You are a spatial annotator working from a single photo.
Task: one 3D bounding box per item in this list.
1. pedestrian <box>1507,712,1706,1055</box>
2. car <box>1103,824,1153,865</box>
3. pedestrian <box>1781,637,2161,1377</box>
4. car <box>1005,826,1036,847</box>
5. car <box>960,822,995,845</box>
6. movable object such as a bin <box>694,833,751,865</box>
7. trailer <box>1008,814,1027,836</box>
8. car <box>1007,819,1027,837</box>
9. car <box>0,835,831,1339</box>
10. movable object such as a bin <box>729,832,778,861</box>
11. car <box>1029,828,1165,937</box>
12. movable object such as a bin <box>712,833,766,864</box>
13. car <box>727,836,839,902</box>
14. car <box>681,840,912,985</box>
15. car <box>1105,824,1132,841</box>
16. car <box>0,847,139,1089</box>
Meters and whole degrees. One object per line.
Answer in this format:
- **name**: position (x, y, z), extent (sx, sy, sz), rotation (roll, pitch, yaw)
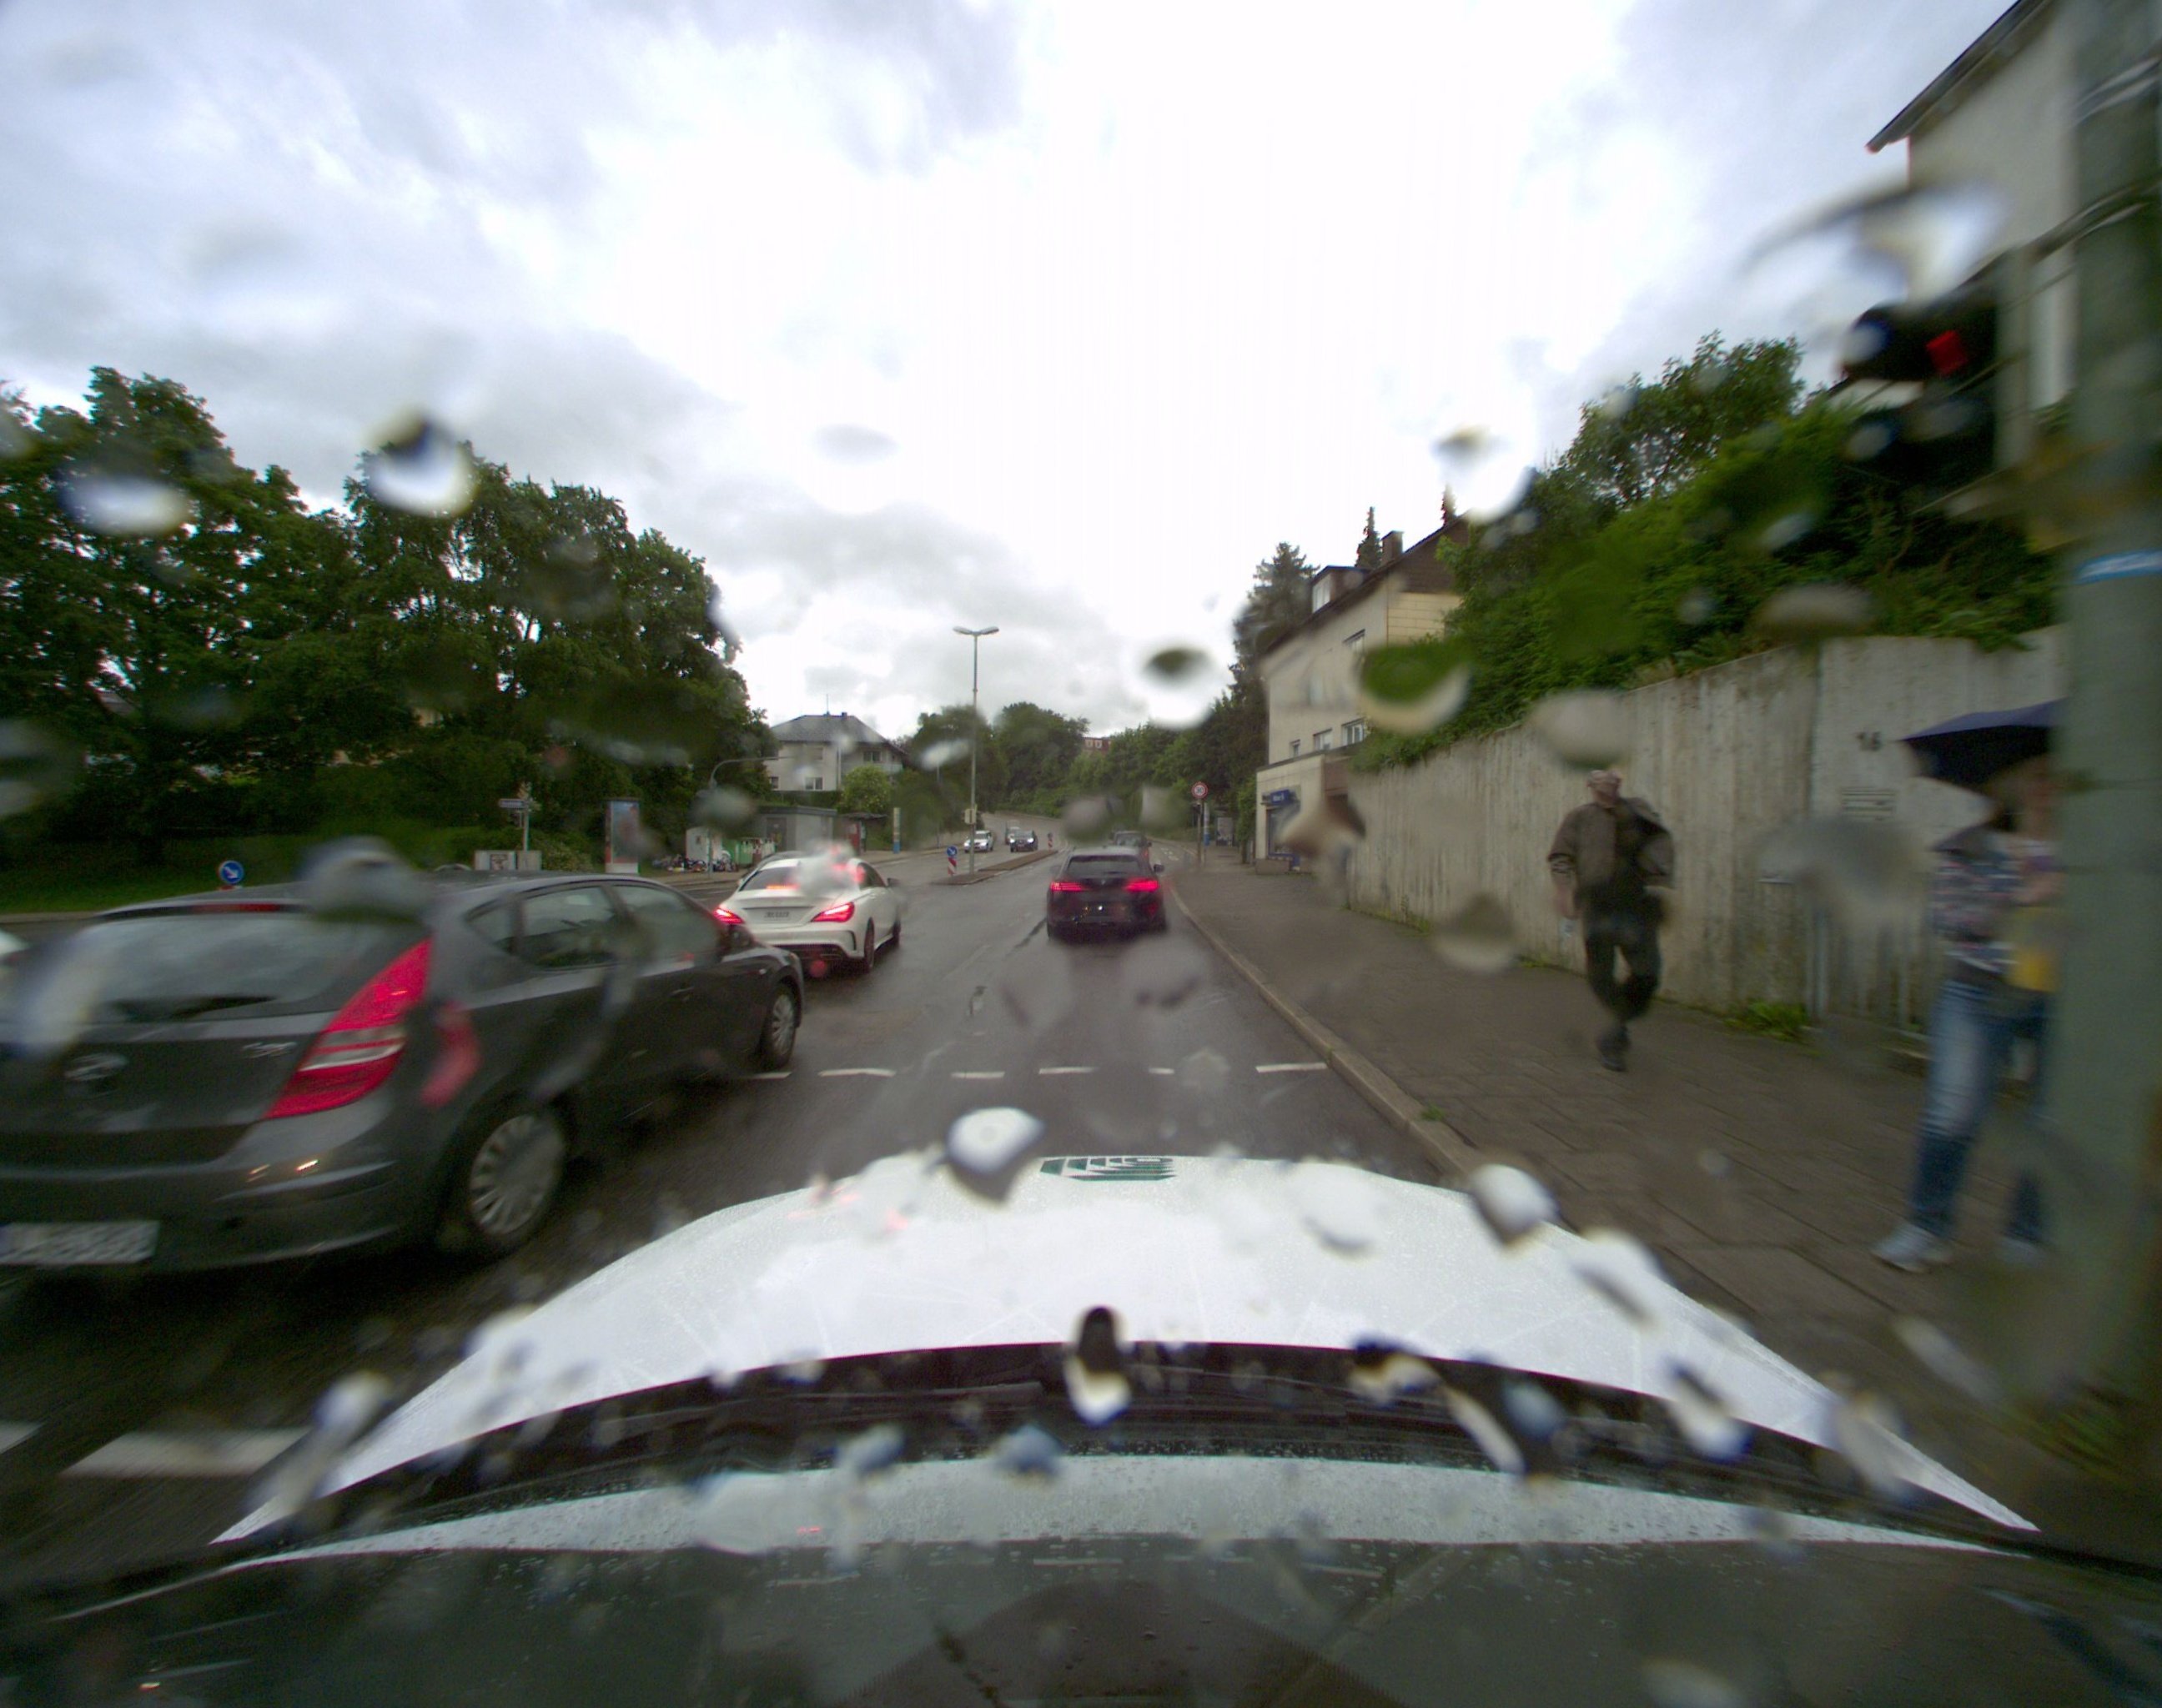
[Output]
- **pedestrian**: position (3.283, 0.173, 5.155), extent (0.794, 2.013, 0.734), rotation (0, 0, 1)
- **car**: position (2.101, -0.423, 37.270), extent (1.987, 1.748, 3.999), rotation (-1, 1, -1)
- **pedestrian**: position (2.963, 0.353, 2.462), extent (0.791, 1.780, 1.012), rotation (-2, 0, 1)
- **car**: position (-4.698, -1.354, 63.855), extent (1.833, 1.552, 4.389), rotation (-1, 1, 4)
- **car**: position (-8.151, -1.608, 64.440), extent (1.815, 1.656, 4.472), rotation (-1, 1, 4)
- **movable object such as a bin**: position (-18.280, -0.277, 41.601), extent (2.047, 1.568, 1.585), rotation (-1, 3, 6)
- **trailer**: position (-6.602, -2.964, 84.029), extent (1.893, 2.178, 4.029), rotation (-1, 1, -5)
- **car**: position (-6.271, -2.599, 79.834), extent (1.896, 1.682, 4.474), rotation (-1, 3, -4)
- **car**: position (-2.968, 0.679, 4.447), extent (1.828, 1.487, 4.060), rotation (-1, 0, 1)
- **movable object such as a bin**: position (-17.946, -0.436, 44.655), extent (2.047, 1.514, 1.347), rotation (-1, 3, 6)
- **car**: position (0.248, 0.446, 14.283), extent (1.987, 1.586, 4.662), rotation (0, -1, 0)
- **movable object such as a bin**: position (-18.116, -0.293, 43.195), extent (2.047, 1.568, 1.585), rotation (-1, 3, 6)
- **car**: position (-7.959, 0.358, 22.115), extent (1.992, 1.574, 3.989), rotation (-1, 0, -8)
- **car**: position (-3.550, 0.607, 11.150), extent (1.905, 1.528, 4.643), rotation (-1, 0, -6)
- **car**: position (3.723, -2.168, 81.916), extent (1.852, 1.661, 3.987), rotation (0, 2, -10)
- **car**: position (-7.803, 0.753, 3.594), extent (1.831, 1.556, 4.766), rotation (-1, 0, -2)
